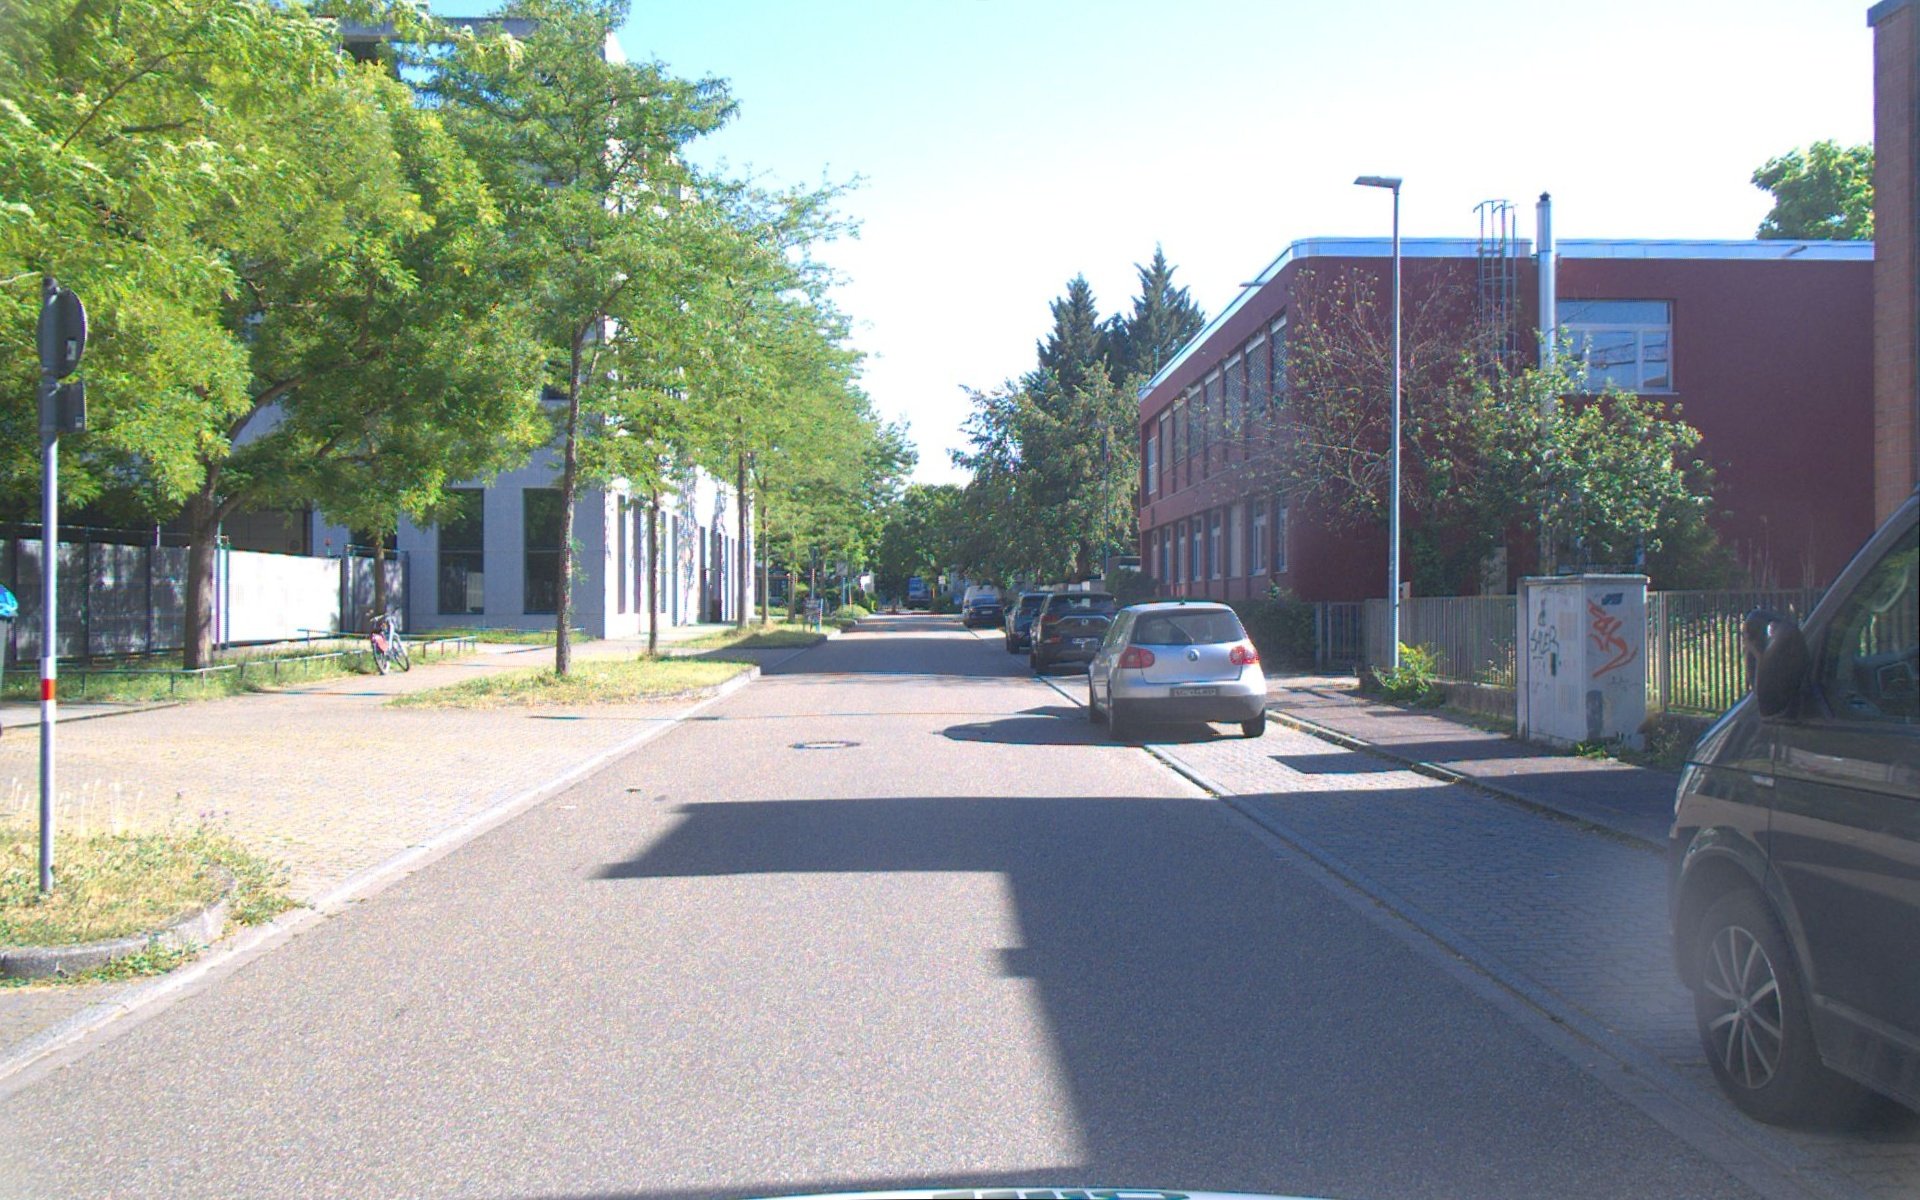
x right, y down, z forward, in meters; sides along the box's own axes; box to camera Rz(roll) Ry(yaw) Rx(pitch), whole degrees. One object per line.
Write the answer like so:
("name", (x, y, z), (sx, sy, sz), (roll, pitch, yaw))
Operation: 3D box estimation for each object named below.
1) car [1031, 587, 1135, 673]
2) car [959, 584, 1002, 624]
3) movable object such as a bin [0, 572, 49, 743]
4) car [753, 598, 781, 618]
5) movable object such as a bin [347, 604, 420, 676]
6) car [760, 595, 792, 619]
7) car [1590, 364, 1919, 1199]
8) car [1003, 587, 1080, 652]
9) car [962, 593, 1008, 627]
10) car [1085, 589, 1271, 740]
("car", (2.457, 0.564, 33.979), (1.800, 1.662, 4.200), (0, 0, -1))
("car", (1.010, 0.170, 83.510), (1.953, 1.866, 3.999), (-3, 0, -1))
("movable object such as a bin", (-9.786, 0.496, 15.591), (1.384, 1.625, 1.523), (4, -2, 2))
("car", (-13.892, 0.571, 119.150), (1.868, 1.365, 3.790), (0, 0, -4))
("movable object such as a bin", (-10.102, 0.676, 29.043), (0.649, 1.202, 1.935), (0, 0, -1))
("car", (-11.976, 0.448, 107.708), (1.954, 1.483, 3.790), (0, 0, -4))
("car", (3.254, 0.443, 3.421), (1.904, 2.057, 4.823), (-1, -1, -2))
("car", (2.161, 0.498, 44.964), (1.817, 1.677, 3.999), (-1, 0, -1))
("car", (1.152, 0.452, 77.716), (1.953, 1.467, 3.999), (-3, 0, -1))
("car", (2.445, 0.667, 19.384), (1.626, 1.588, 3.934), (0, 0, -1))
